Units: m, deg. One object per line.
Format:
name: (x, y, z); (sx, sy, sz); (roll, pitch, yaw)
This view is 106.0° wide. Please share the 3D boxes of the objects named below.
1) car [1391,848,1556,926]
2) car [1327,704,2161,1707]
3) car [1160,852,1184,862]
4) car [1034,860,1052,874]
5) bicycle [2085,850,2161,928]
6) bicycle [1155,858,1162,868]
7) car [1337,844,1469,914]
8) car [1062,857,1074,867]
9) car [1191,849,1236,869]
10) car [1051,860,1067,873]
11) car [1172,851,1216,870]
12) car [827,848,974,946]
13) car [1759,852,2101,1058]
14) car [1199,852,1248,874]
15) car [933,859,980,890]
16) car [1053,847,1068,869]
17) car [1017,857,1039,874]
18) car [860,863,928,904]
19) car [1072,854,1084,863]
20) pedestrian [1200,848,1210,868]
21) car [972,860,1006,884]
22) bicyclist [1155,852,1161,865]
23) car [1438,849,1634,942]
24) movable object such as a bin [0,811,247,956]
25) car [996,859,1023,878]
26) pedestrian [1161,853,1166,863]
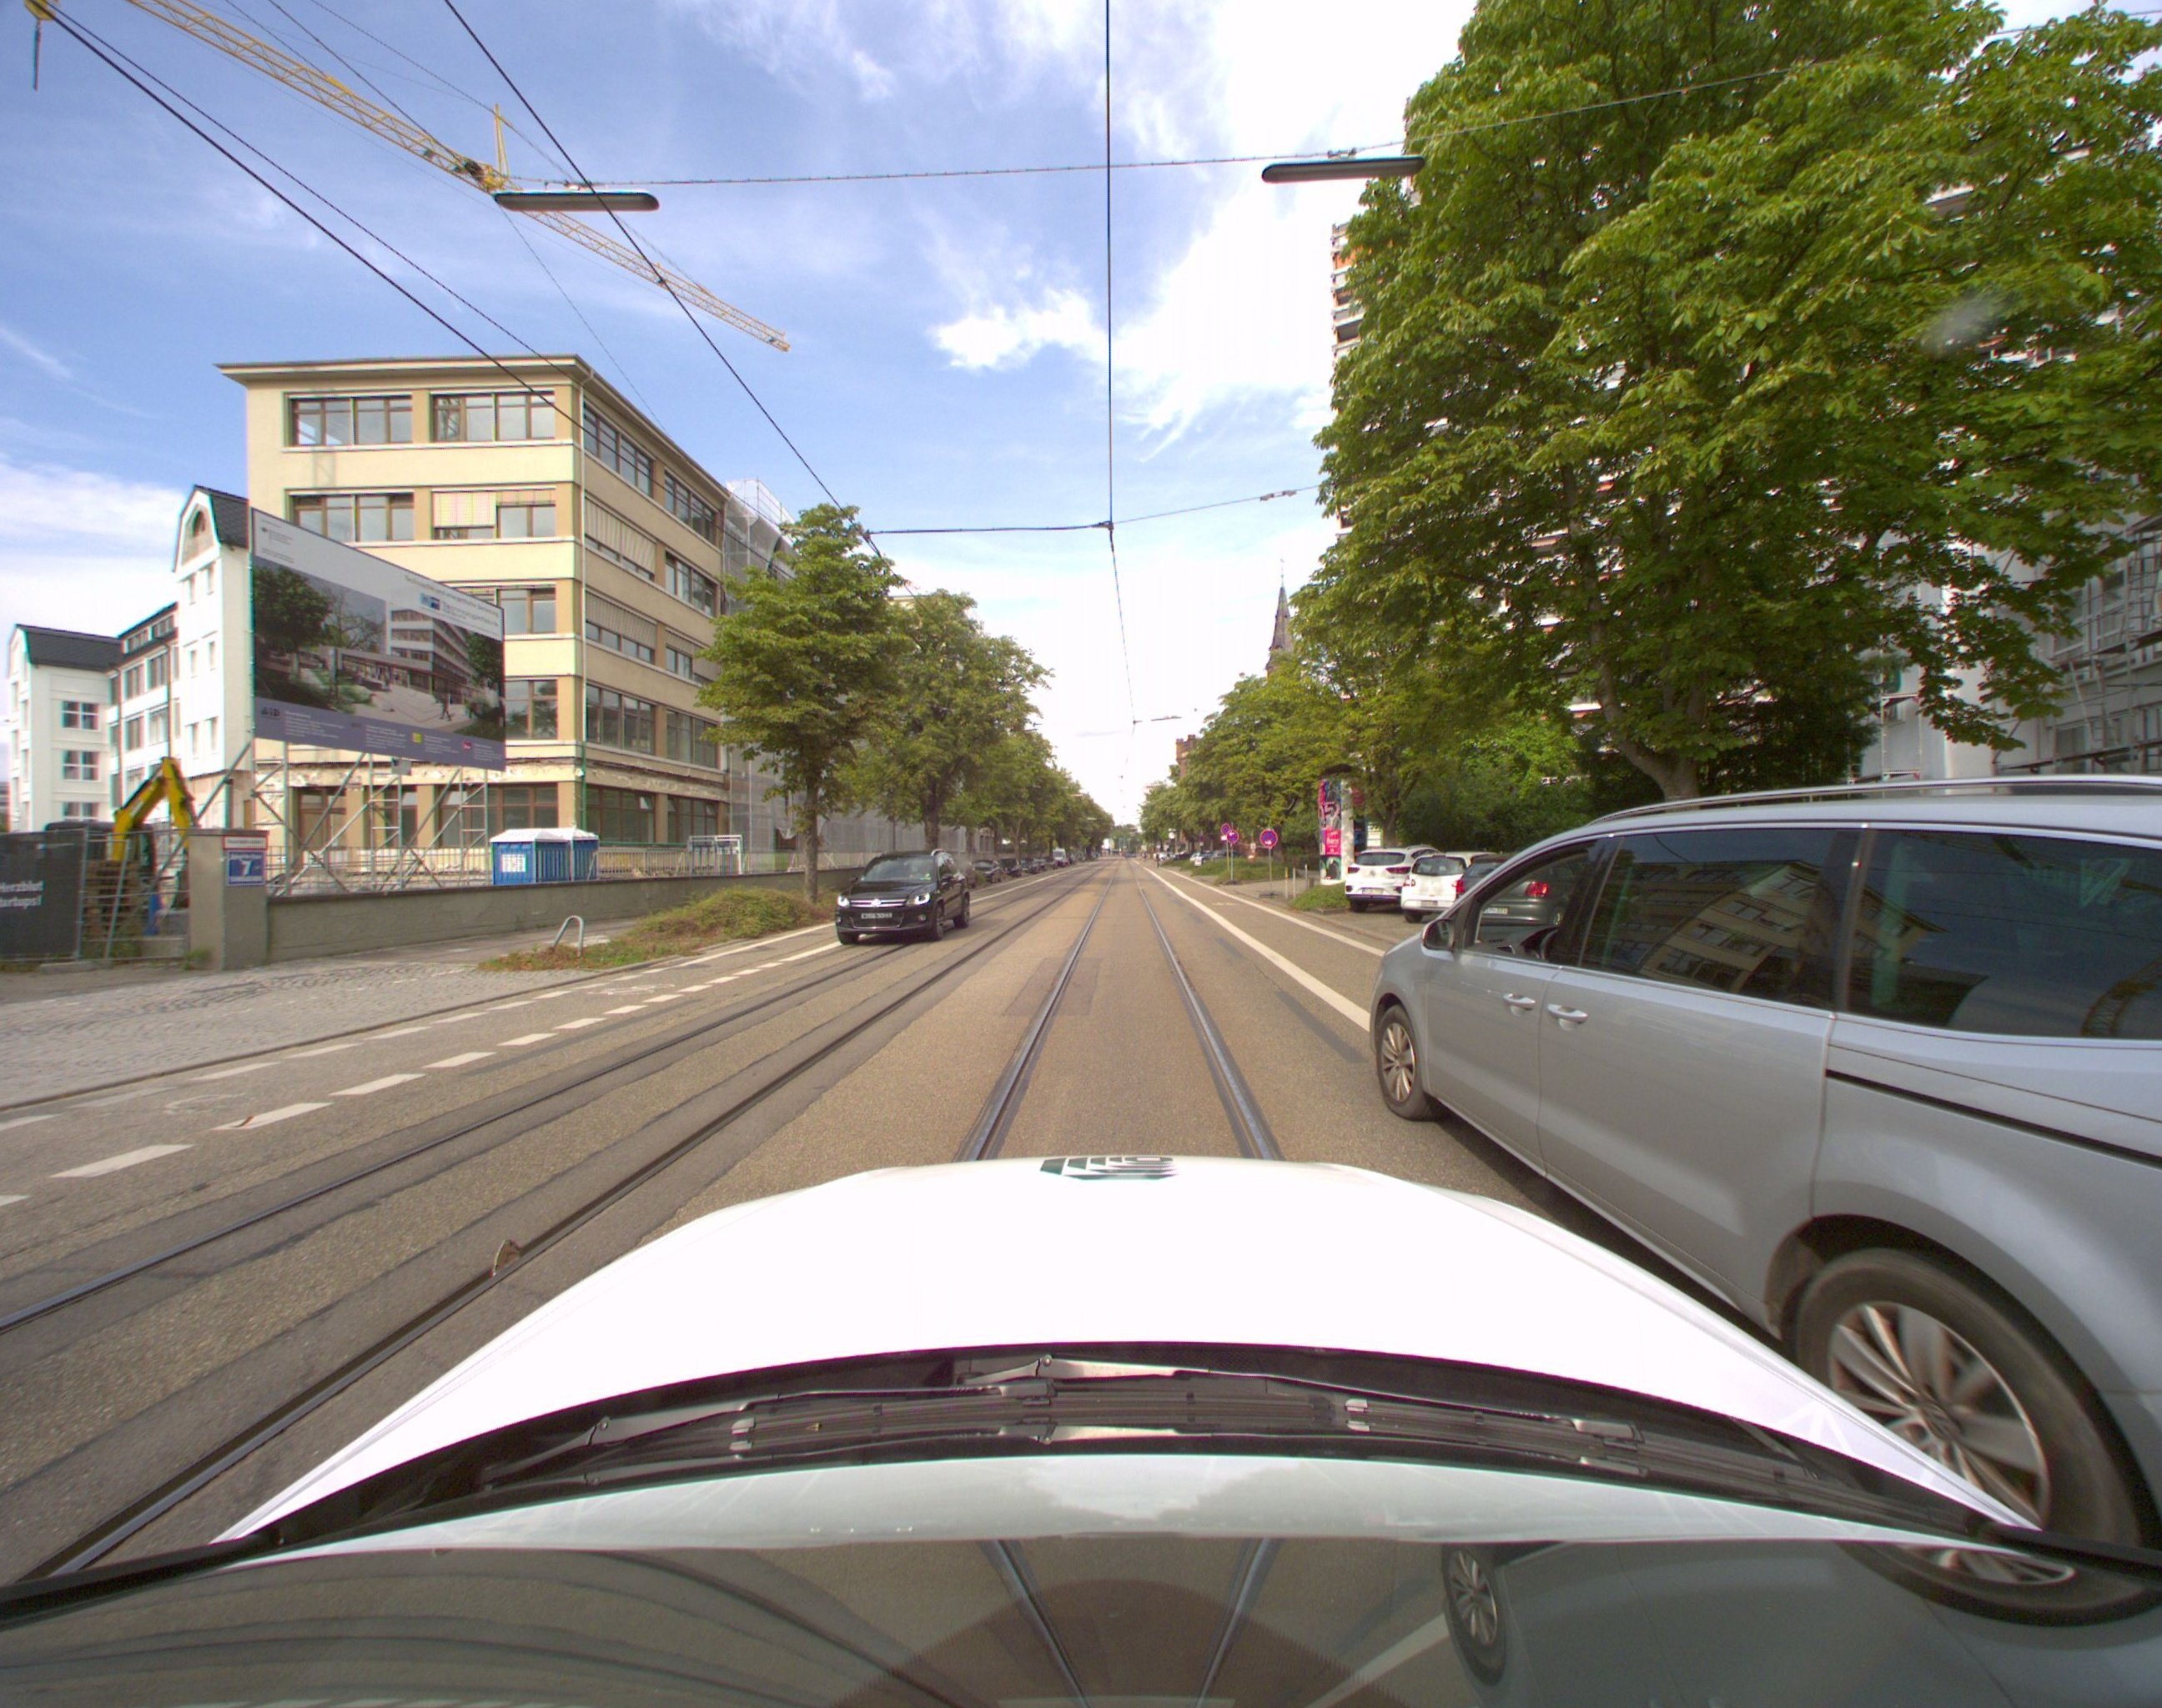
car: (8.386, 0.633, 17.304); (3.663, 1.474, 1.663); (0, -1, -37)
car: (2.624, 0.596, 3.256); (1.807, 1.701, 4.615); (-1, 0, -1)
car: (15.978, 0.521, 142.623); (3.977, 1.693, 1.998); (-1, 0, -3)
car: (-3.756, 1.278, 81.375); (1.585, 1.402, 3.963); (0, 0, 1)
bicycle: (15.153, 0.470, 10.980); (1.952, 1.043, 0.598); (-1, 0, 40)
bicycle: (8.400, 0.972, 88.673); (0.590, 1.043, 1.978); (-1, 0, 1)
car: (8.169, 0.574, 20.531); (3.667, 1.602, 1.662); (0, -1, -43)
car: (-1.903, 1.078, 117.388); (1.585, 1.402, 3.963); (0, 0, 1)
car: (10.808, 0.384, 66.342); (3.667, 1.602, 1.662); (0, -1, -43)
car: (-2.472, 1.363, 91.537); (1.585, 1.402, 3.963); (0, 0, 1)
car: (9.518, 0.549, 68.531); (3.667, 1.602, 1.662); (0, -1, -43)
car: (-3.373, 0.736, 16.124); (1.725, 1.628, 4.380); (-2, 0, 2)
car: (7.895, 0.703, 7.719); (4.194, 1.415, 1.794); (0, -1, -44)
car: (10.436, 0.645, 59.544); (3.667, 1.602, 1.662); (0, -1, -43)
car: (-6.259, 0.989, 41.382); (1.629, 1.496, 3.964); (0, 0, 2)
car: (-2.643, 0.527, 104.552); (1.714, 2.704, 5.471); (0, 0, 1)
car: (-4.639, 1.000, 71.175); (1.585, 1.402, 3.963); (0, 0, 1)
car: (-6.968, 1.054, 30.734); (1.585, 1.402, 3.963); (0, 0, 1)
car: (-0.461, 0.697, 130.311); (1.584, 1.402, 3.552); (0, 0, 3)
pedestrian: (11.118, 0.365, 72.975); (0.779, 1.826, 0.665); (-1, 0, 23)
car: (-5.698, 1.082, 50.580); (1.585, 1.402, 3.963); (0, 0, 1)
bicyclist: (8.399, 0.493, 88.677); (0.590, 1.459, 0.875); (-1, 0, 1)
car: (8.092, 0.646, 14.383); (3.663, 1.419, 1.663); (0, -1, -37)
movable object such as a bin: (-18.275, 0.525, 15.222); (3.030, 2.443, 2.506); (-1, -1, 13)
car: (-5.328, 1.059, 60.886); (1.585, 1.402, 3.963); (0, 0, 1)
pedestrian: (14.411, 0.746, 142.605); (0.741, 1.790, 0.734); (-1, -1, 18)
